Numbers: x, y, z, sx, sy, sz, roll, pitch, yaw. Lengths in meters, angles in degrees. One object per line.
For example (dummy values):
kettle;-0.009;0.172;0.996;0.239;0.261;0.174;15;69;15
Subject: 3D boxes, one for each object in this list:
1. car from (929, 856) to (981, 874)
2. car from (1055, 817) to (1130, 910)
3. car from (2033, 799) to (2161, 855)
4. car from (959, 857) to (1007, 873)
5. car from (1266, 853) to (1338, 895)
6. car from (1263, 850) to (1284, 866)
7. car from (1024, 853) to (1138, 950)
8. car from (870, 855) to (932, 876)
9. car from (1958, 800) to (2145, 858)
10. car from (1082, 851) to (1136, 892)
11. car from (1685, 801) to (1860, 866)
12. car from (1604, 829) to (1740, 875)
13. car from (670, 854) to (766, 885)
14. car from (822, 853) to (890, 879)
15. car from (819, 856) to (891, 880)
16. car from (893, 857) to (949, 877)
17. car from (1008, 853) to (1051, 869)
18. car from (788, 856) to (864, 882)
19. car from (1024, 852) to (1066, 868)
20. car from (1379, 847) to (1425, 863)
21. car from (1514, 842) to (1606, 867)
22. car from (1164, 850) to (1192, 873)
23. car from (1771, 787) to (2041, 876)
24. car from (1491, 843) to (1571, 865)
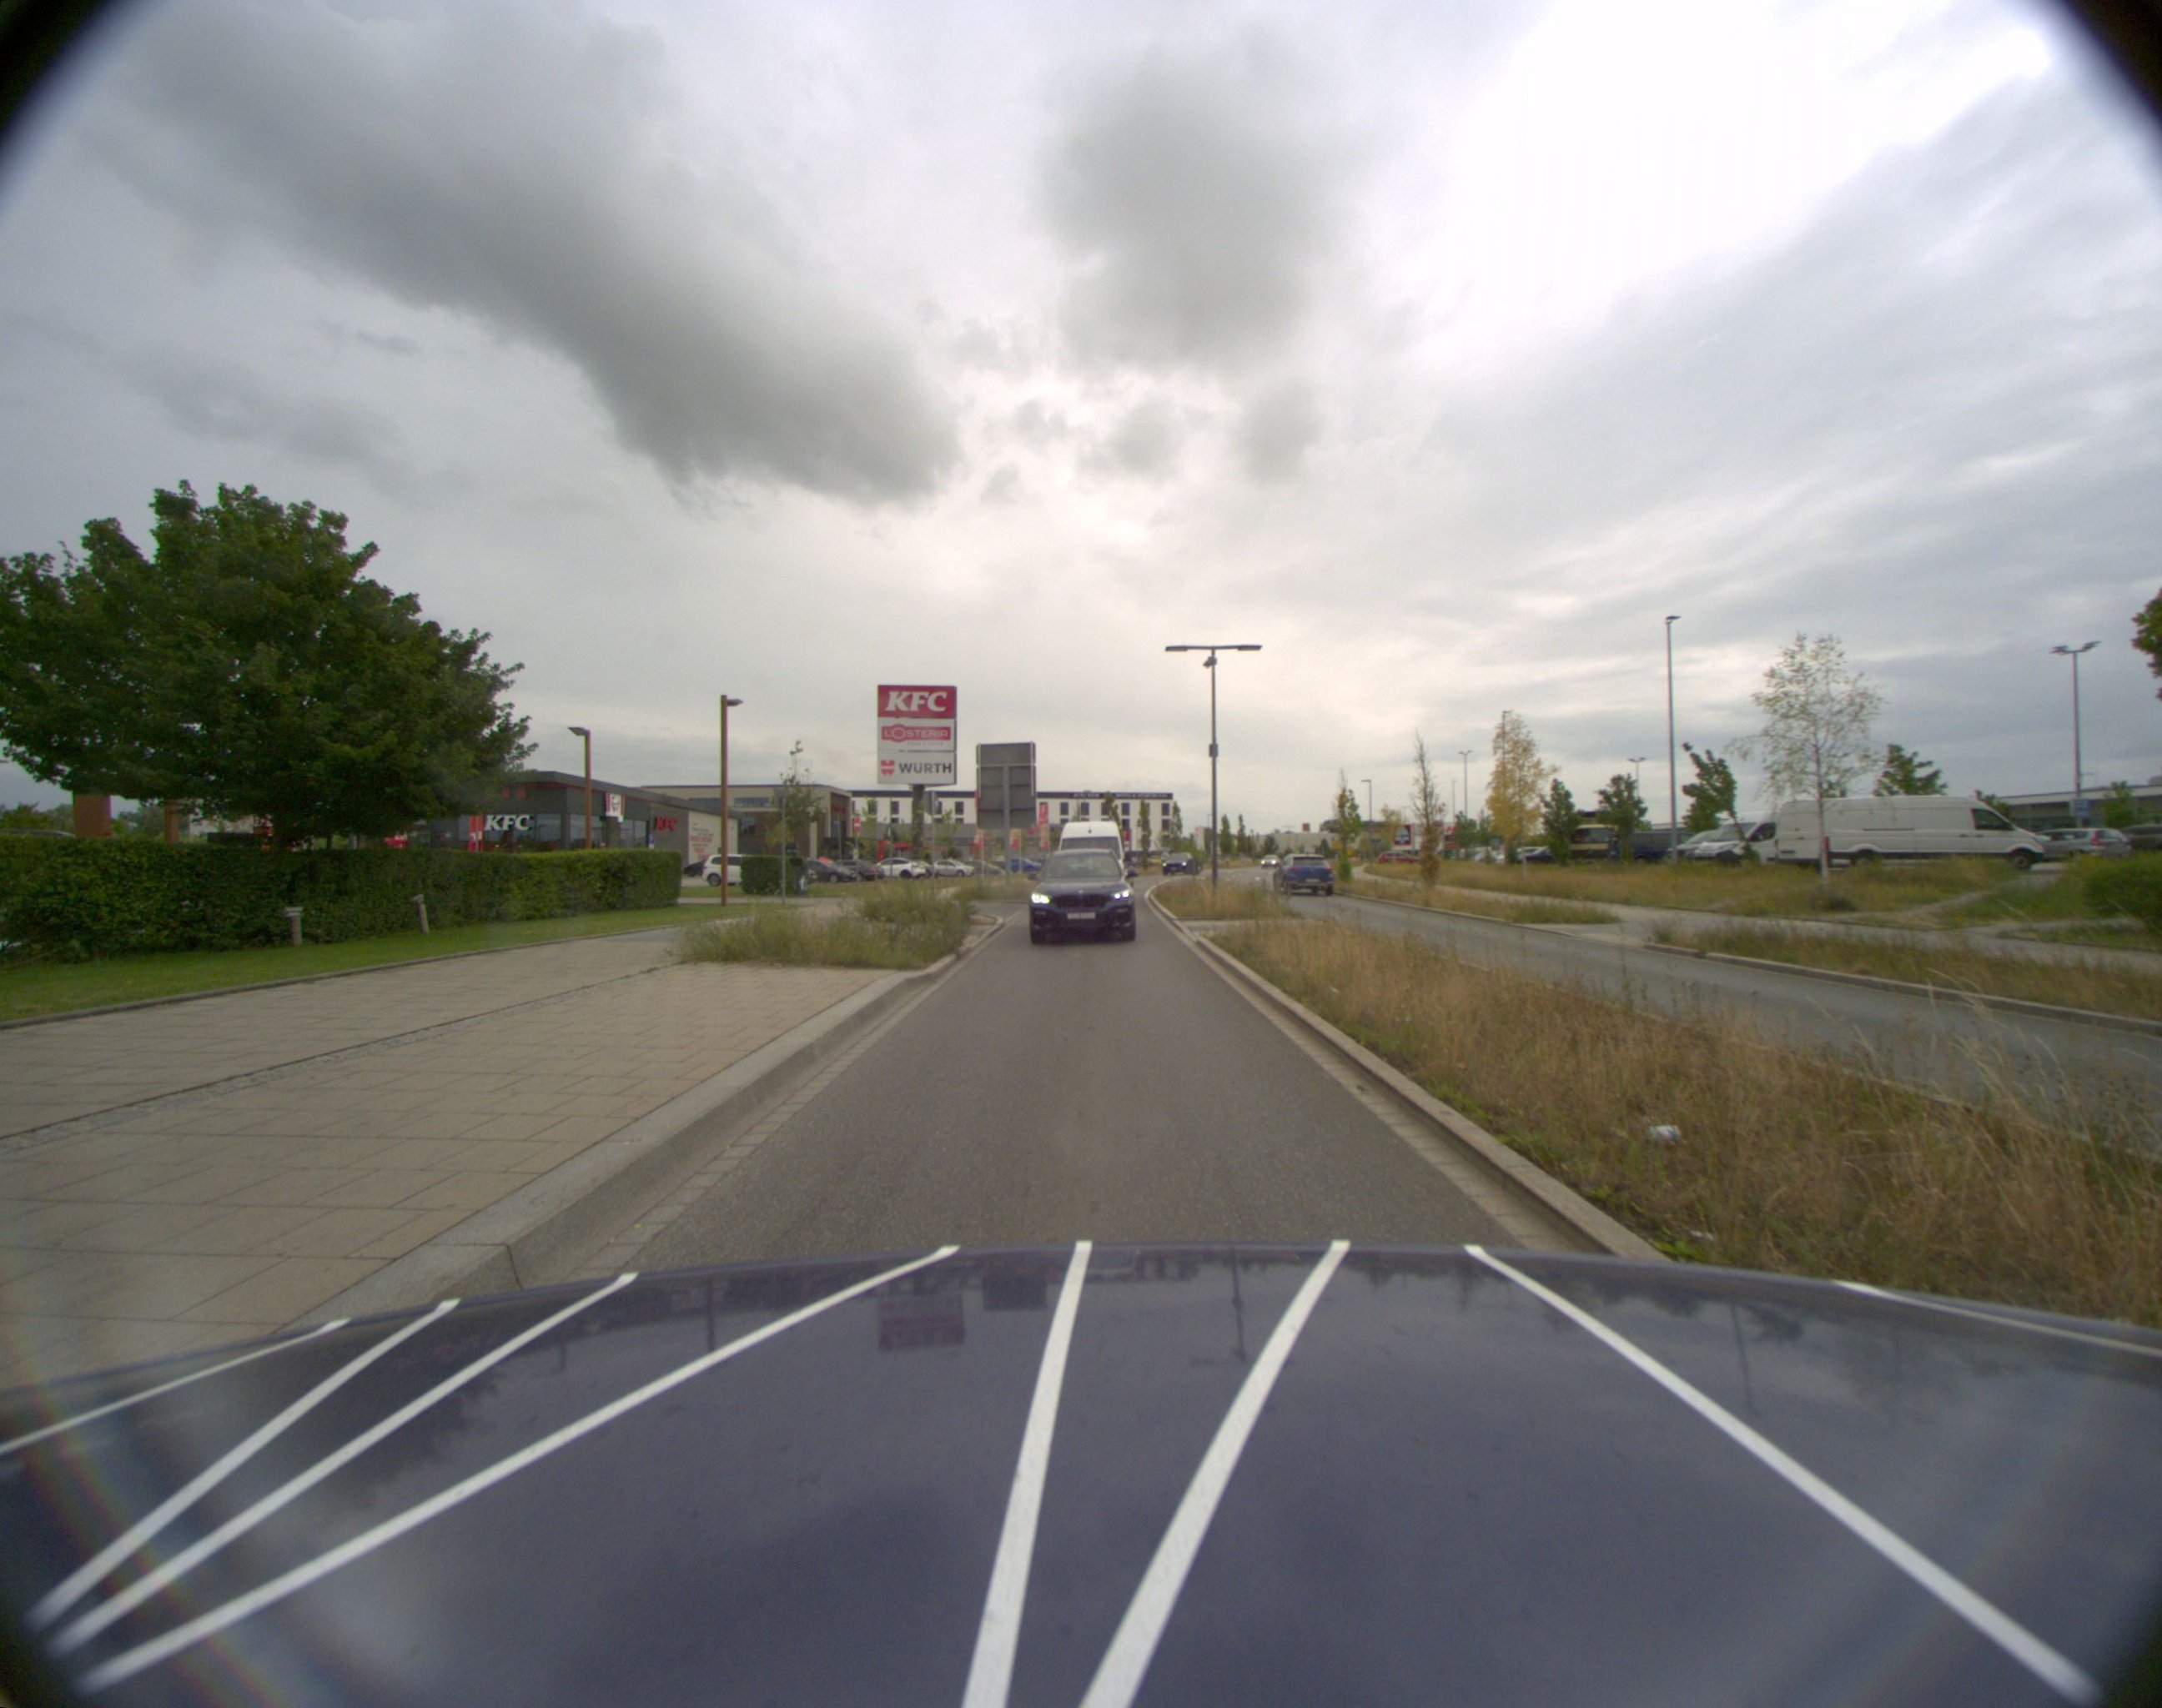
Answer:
car;-10.860;0.948;65.597;3.993;1.477;1.849;-1;0;13
car;0.328;0.280;23.720;2.026;2.512;6.105;-1;0;0
car;46.809;-1.192;34.024;2.063;2.359;5.057;-2;1;1
car;-9.005;1.011;70.096;3.993;1.477;1.849;-1;0;13
car;8.590;0.735;29.840;1.733;1.503;4.000;-1;0;1
car;21.646;0.432;85.338;1.996;1.660;4.005;-3;-1;16
car;0.011;0.792;14.594;1.867;1.598;4.000;-1;0;0
car;-13.254;0.835;55.988;3.994;1.513;1.848;-1;0;9
car;43.759;-1.059;34.507;2.063;2.359;5.057;-2;1;1
car;1.344;0.795;34.479;1.997;1.660;4.003;-2;-1;8
car;27.657;-0.804;30.507;5.053;2.359;2.064;-2;1;1
car;29.528;-0.089;38.114;5.050;2.210;2.066;-1;0;8
car;-18.584;0.774;39.030;3.996;1.519;1.847;-1;0;2
car;-15.441;0.818;52.280;3.994;1.602;1.848;-2;1;9
car;-14.540;0.919;49.031;3.994;1.477;1.848;-1;0;9
car;-12.811;1.040;60.966;3.994;1.477;1.848;-1;0;9
car;-5.375;0.743;79.283;3.992;1.477;1.849;-2;1;18
car;-15.501;0.902;46.257;3.994;1.477;1.848;-1;0;9
car;-3.844;0.660;81.478;3.992;1.477;1.849;-2;1;18
car;32.075;0.105;76.051;3.992;1.455;1.738;-2;1;16
car;33.302;0.020;52.972;5.049;1.646;2.066;-1;0;11
car;7.786;0.621;60.631;1.860;1.660;4.004;-2;-1;11
car;27.450;-0.726;25.491;6.413;2.609;2.065;-2;1;5
car;35.630;0.017;60.303;5.049;1.646;2.066;-1;0;11
